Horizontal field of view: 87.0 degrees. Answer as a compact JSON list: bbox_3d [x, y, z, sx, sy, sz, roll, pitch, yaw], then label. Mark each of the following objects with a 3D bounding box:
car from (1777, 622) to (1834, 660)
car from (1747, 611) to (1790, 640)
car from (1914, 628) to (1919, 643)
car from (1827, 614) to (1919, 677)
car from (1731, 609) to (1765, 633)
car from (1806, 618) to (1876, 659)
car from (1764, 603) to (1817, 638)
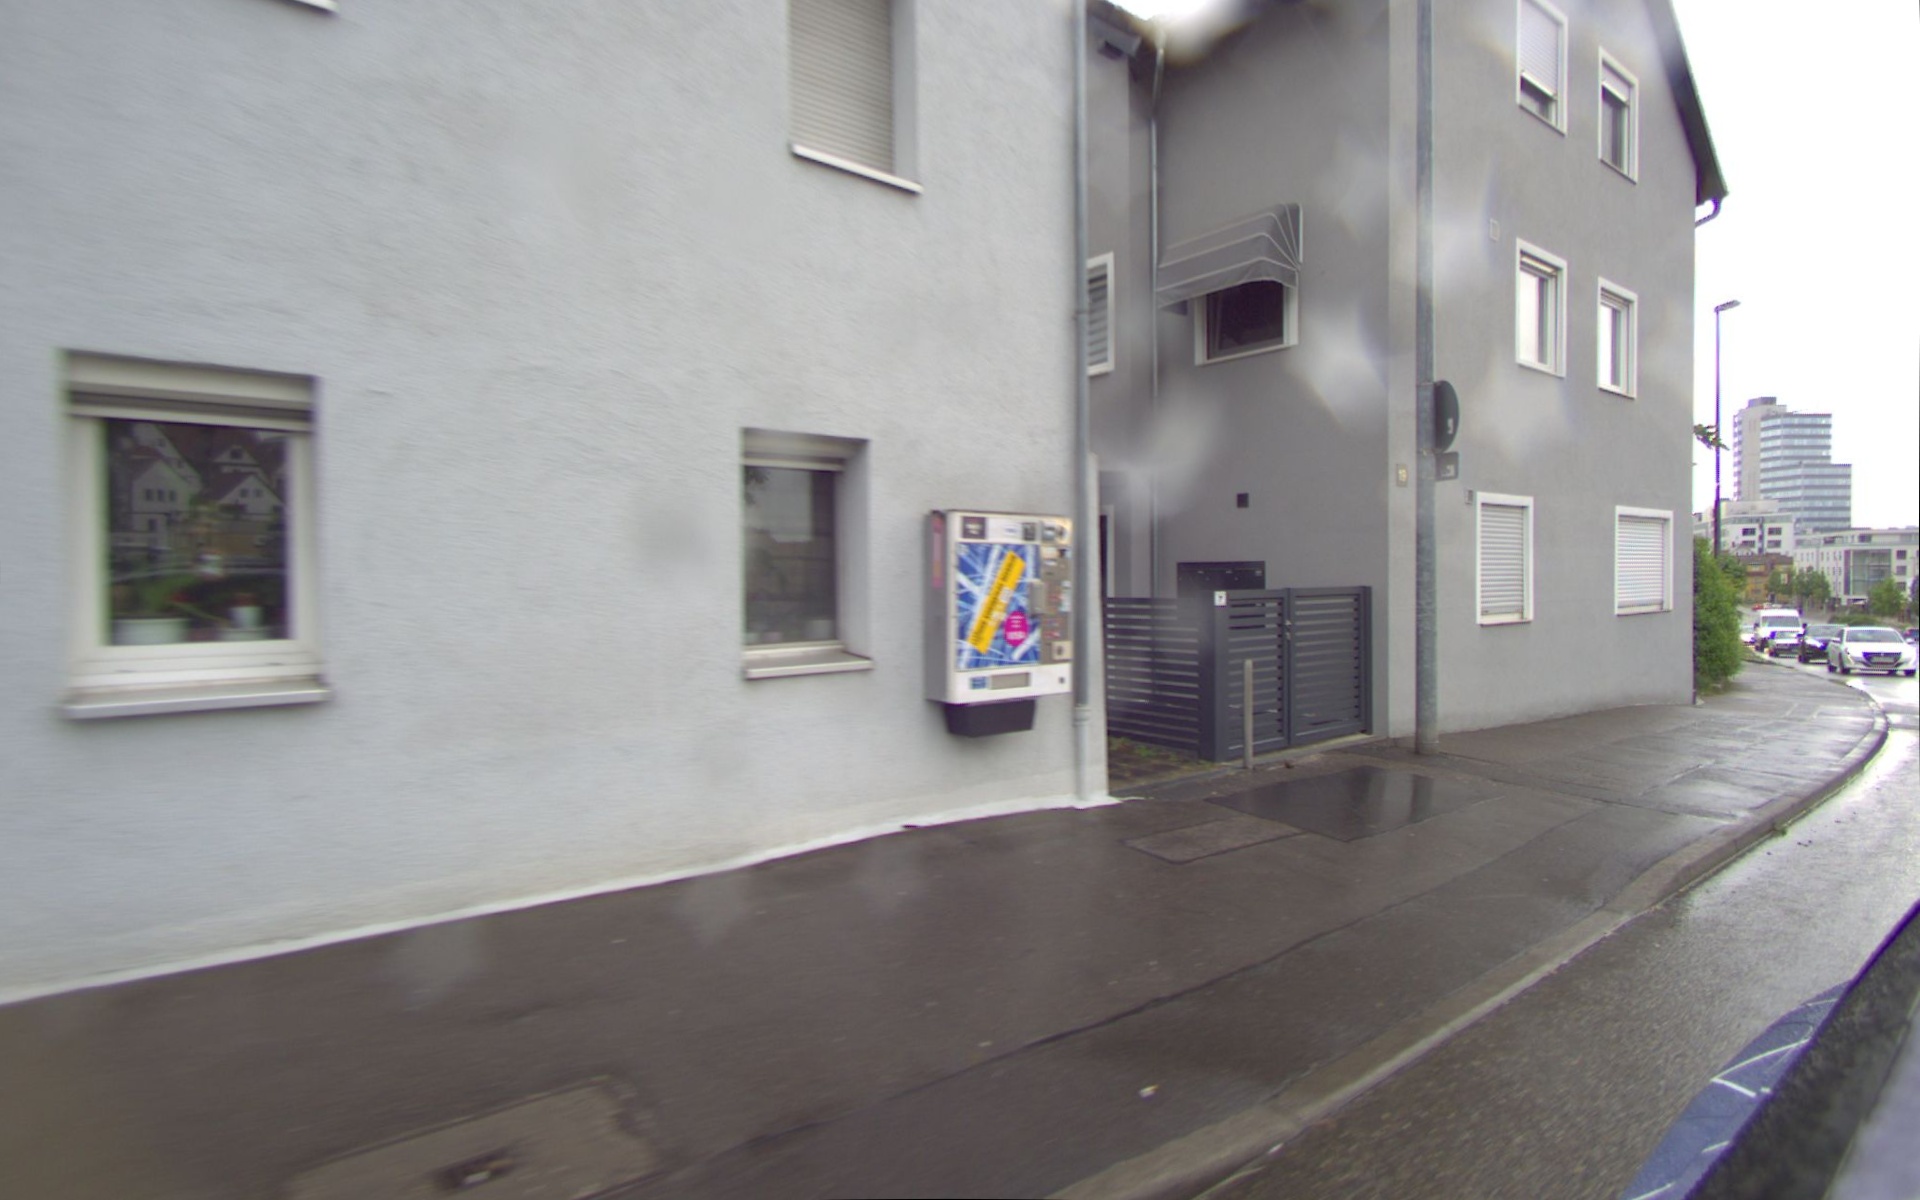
[{"bbox_3d":[41.132,1.994,49.315,1.891,1.746,4.402,0,-2,37],"label":"car"},{"bbox_3d":[55.716,1.771,69.786,2.019,1.961,4.880,0,-2,35],"label":"car"},{"bbox_3d":[102.616,3.771,107.330,1.810,1.534,3.944,0,0,38],"label":"car"},{"bbox_3d":[28.594,1.375,31.434,1.888,1.680,4.883,-5,-2,34],"label":"car"},{"bbox_3d":[67.042,1.835,86.173,2.019,1.961,4.880,0,-2,35],"label":"car"},{"bbox_3d":[35.530,1.525,40.898,1.892,1.515,4.874,0,-2,38],"label":"car"},{"bbox_3d":[48.711,1.238,59.457,2.019,1.961,4.880,0,-2,35],"label":"car"}]
